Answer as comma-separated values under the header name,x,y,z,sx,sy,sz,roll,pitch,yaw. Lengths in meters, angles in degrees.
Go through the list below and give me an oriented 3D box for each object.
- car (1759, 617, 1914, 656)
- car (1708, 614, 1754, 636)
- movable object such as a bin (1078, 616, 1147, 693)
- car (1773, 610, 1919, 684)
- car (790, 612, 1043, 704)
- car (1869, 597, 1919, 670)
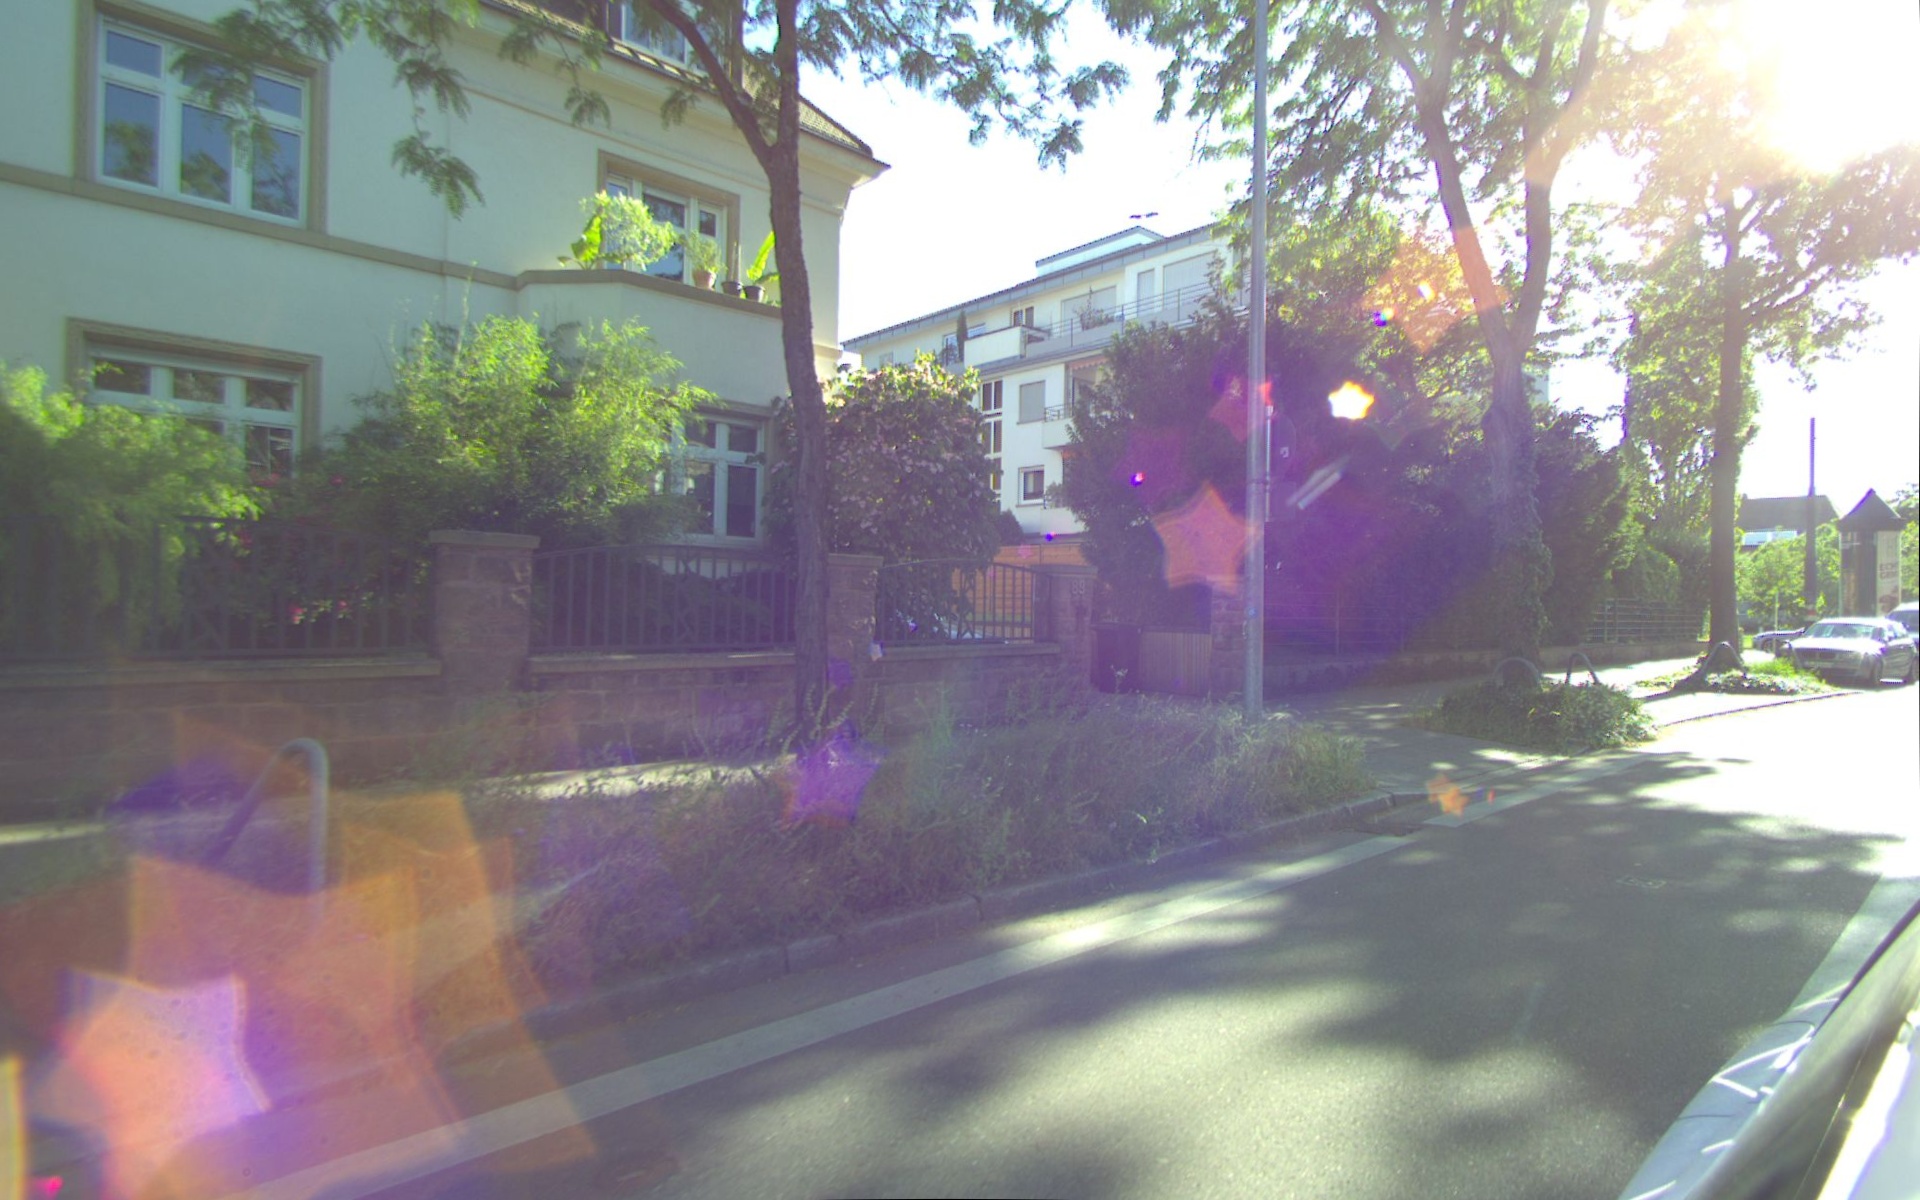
name,x,y,z,sx,sy,sz,roll,pitch,yaw
car,35.686,1.435,41.301,1.933,1.386,4.521,1,0,-38
car,65.516,2.123,85.988,3.923,1.819,2.000,1,0,-34
movable object such as a bin,2.317,0.810,15.380,0.717,1.112,0.748,1,-1,-40
car,20.272,0.985,22.838,4.252,1.441,1.999,0,1,-37
car,-0.783,0.831,16.160,3.985,1.225,1.741,1,-1,43
car,25.275,0.863,25.950,4.662,1.769,2.029,1,0,-36
